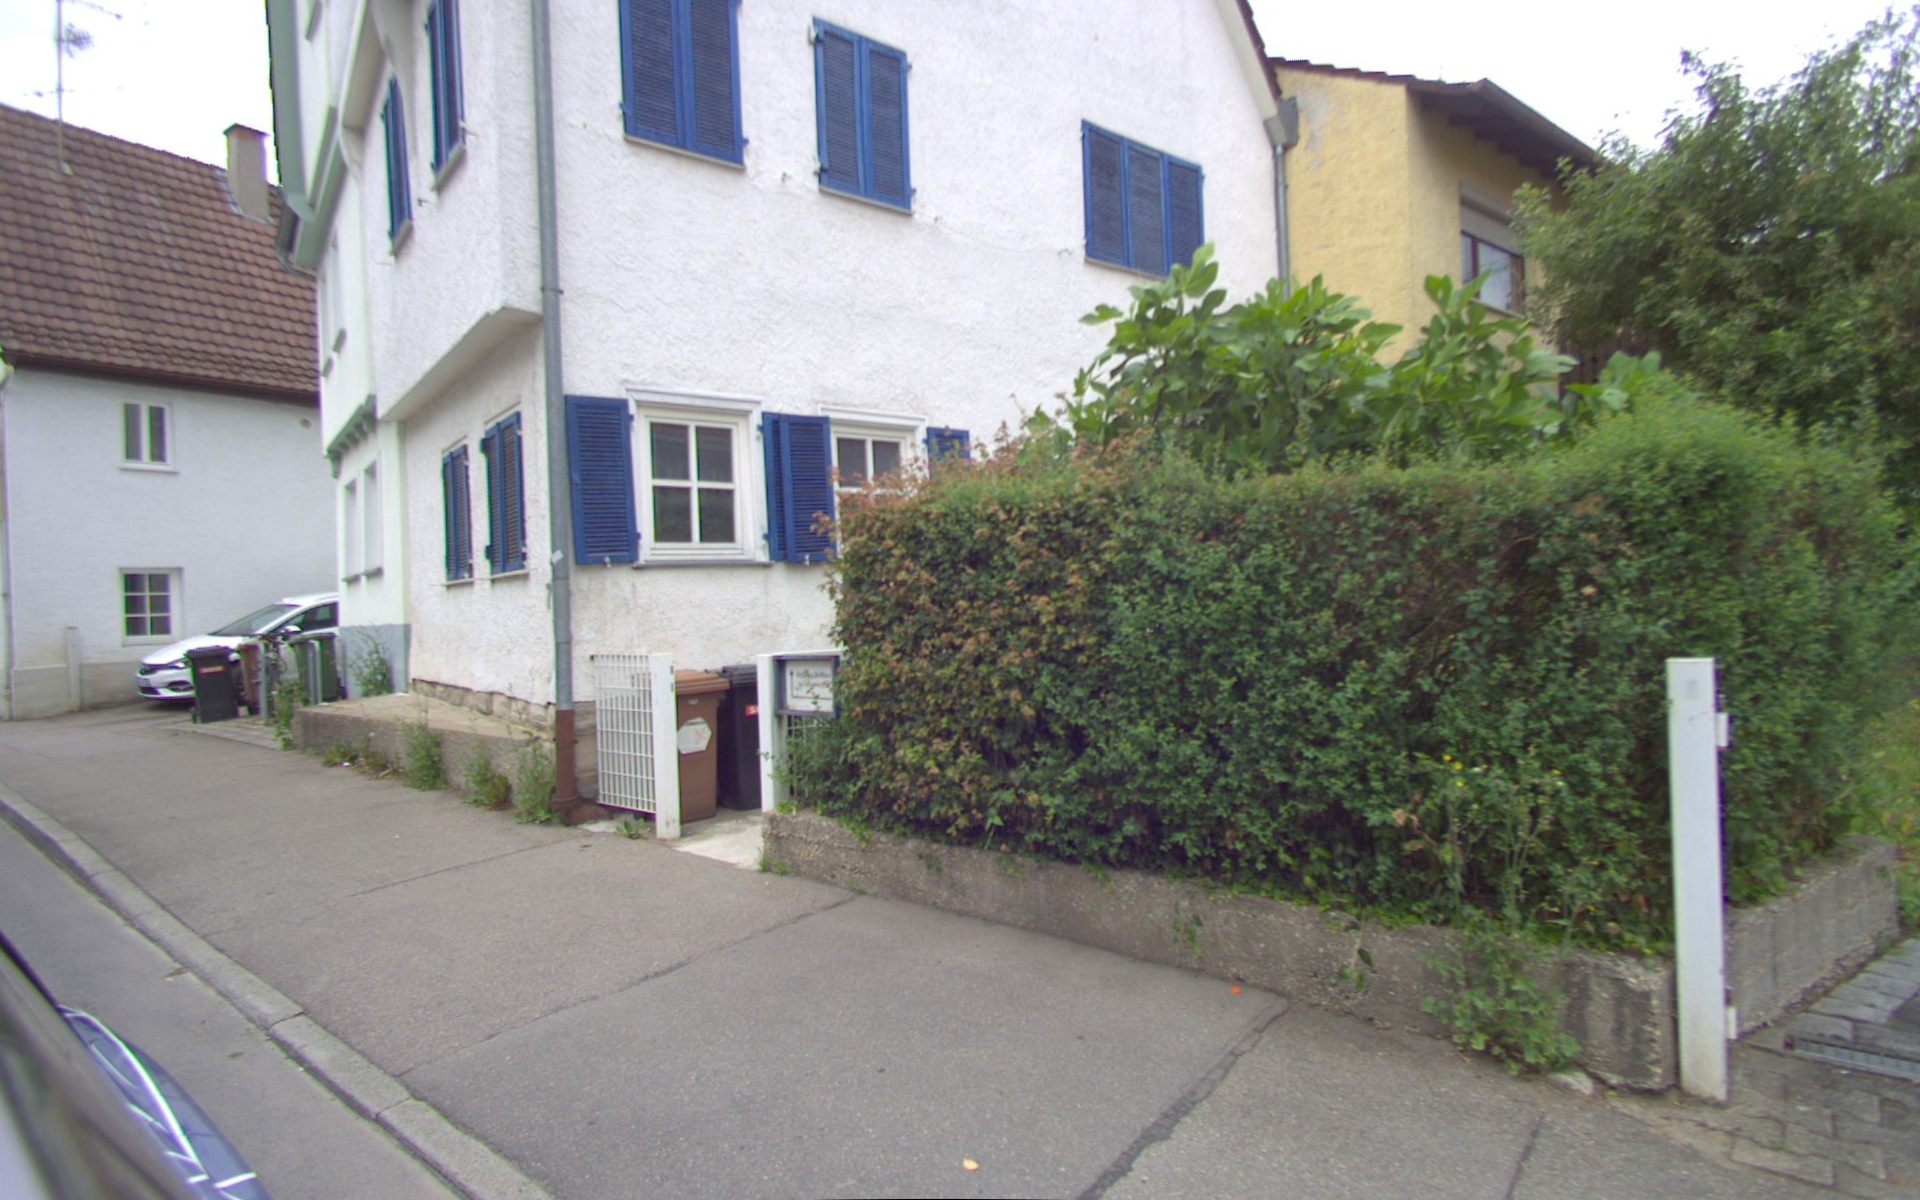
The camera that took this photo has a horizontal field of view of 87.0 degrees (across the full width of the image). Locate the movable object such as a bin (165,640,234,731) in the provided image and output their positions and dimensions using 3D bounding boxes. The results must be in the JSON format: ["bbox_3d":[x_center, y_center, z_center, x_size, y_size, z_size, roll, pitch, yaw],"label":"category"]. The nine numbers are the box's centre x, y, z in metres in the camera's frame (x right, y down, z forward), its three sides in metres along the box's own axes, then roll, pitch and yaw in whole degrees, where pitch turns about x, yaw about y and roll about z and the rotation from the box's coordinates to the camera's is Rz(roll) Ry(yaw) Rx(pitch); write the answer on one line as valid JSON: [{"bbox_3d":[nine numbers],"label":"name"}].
[{"bbox_3d":[-9.278,1.031,12.344,0.546,1.007,0.587,-8,2,-39],"label":"movable object such as a bin"}]

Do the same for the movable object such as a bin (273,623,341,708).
[{"bbox_3d":[-8.544,0.847,13.240,0.549,1.007,0.623,-9,4,-40],"label":"movable object such as a bin"}]

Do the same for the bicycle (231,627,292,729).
[{"bbox_3d":[-8.146,0.861,11.775,0.436,1.046,2.097,-7,3,-36],"label":"bicycle"}]

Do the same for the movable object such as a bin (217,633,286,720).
[{"bbox_3d":[-9.050,0.968,12.929,0.562,1.007,0.600,-8,2,-41],"label":"movable object such as a bin"}]

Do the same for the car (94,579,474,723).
[{"bbox_3d":[-10.404,0.644,15.967,1.973,1.510,4.501,2,7,34],"label":"car"}]
